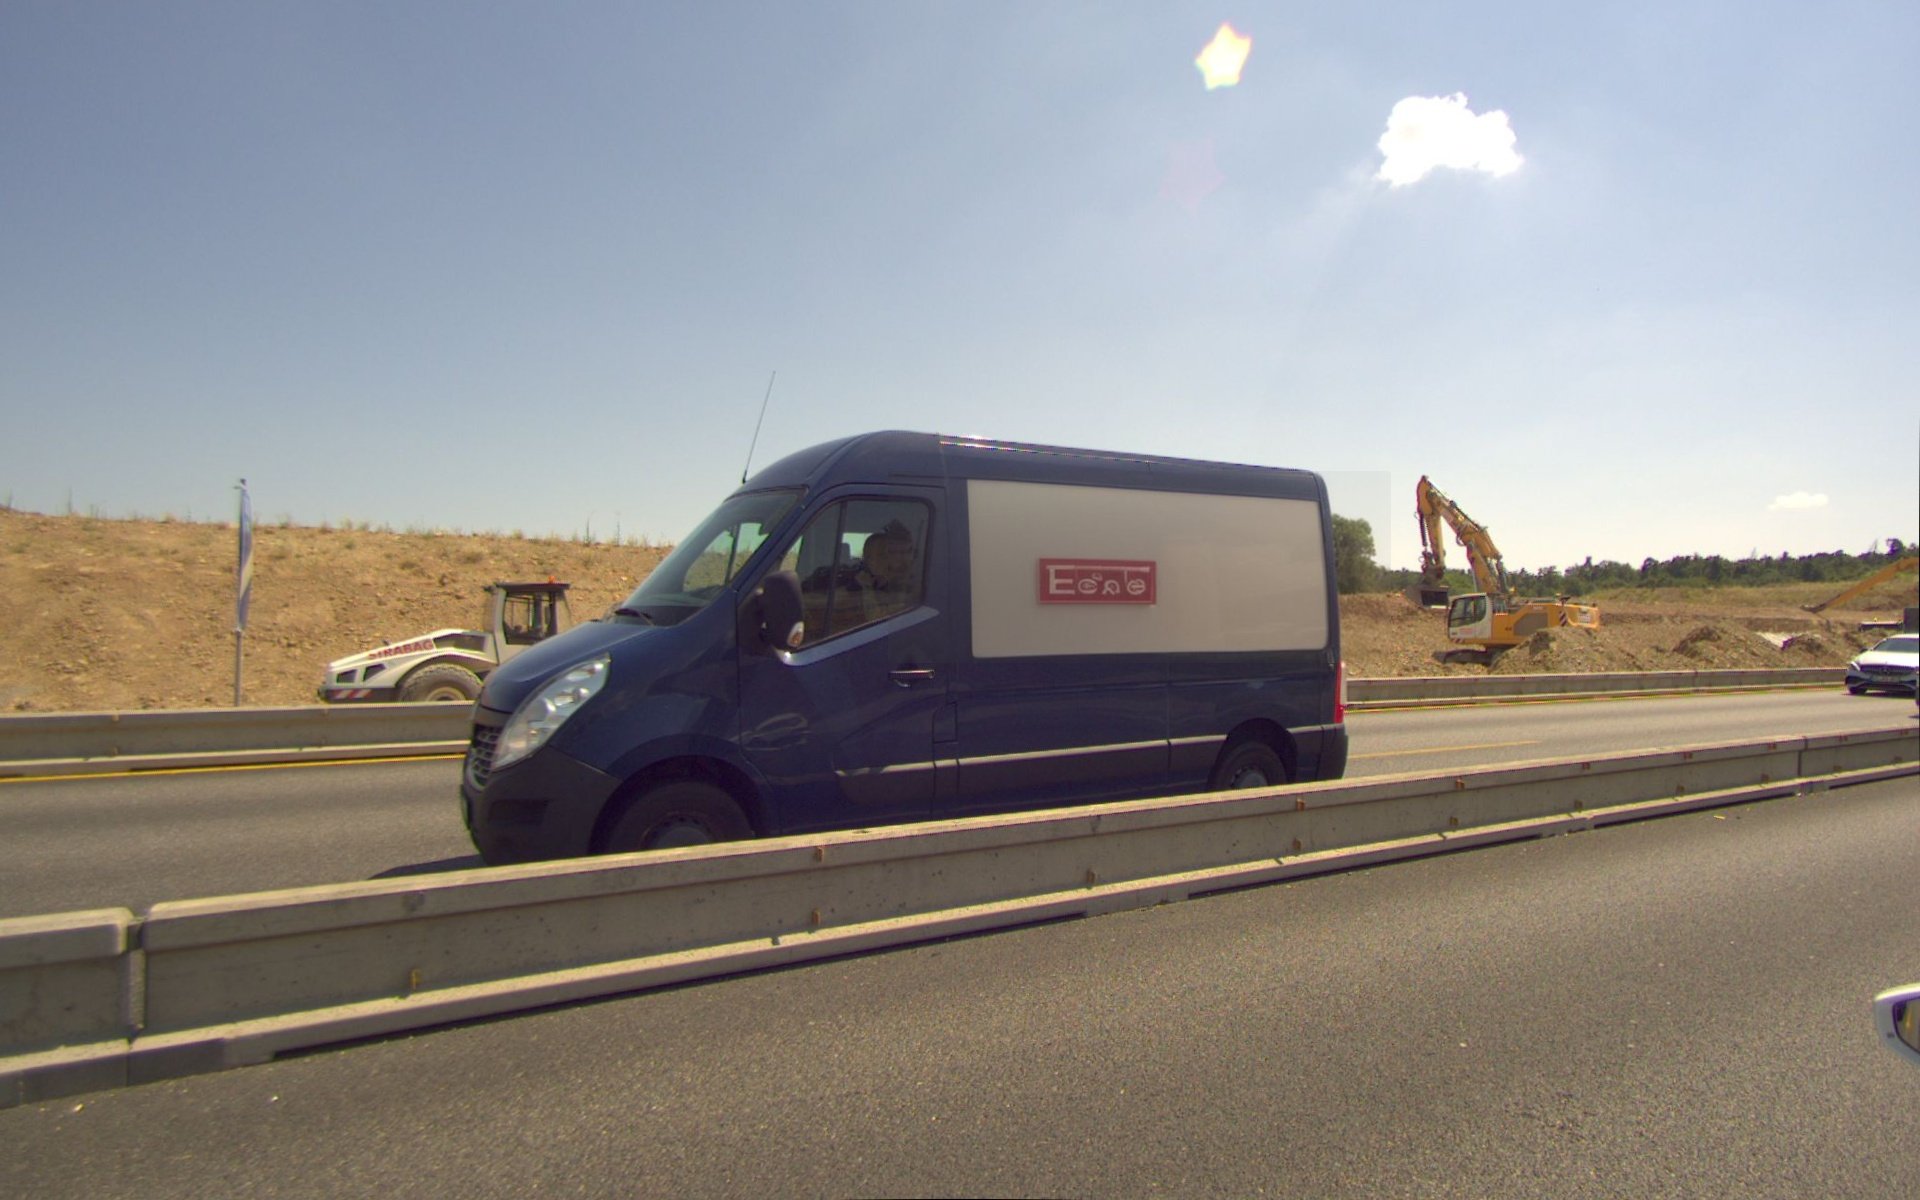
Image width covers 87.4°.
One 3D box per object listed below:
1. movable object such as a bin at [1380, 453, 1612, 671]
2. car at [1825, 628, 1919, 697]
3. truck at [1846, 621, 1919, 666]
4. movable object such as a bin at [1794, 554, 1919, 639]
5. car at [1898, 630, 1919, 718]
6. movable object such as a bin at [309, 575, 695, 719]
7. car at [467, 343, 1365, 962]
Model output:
[{"bbox_3d":[21.099,-1.266,40.076,3.402,7.815,7.608,1,-1,-28],"label":"movable object such as a bin"},{"bbox_3d":[22.467,1.429,23.771,4.396,1.453,1.683,2,0,-30],"label":"car"},{"bbox_3d":[58.022,2.684,62.192,8.311,2.652,2.305,1,-1,-30],"label":"truck"},{"bbox_3d":[84.605,-0.240,87.282,3.574,7.327,18.617,1,-1,-31],"label":"movable object such as a bin"},{"bbox_3d":[18.621,1.323,17.749,4.470,1.496,1.778,2,0,-30],"label":"car"},{"bbox_3d":[-8.781,0.897,19.822,6.664,2.493,1.694,1,-1,-30],"label":"movable object such as a bin"},{"bbox_3d":[-0.050,0.278,6.247,5.294,2.500,1.946,1,-1,-30],"label":"car"}]
